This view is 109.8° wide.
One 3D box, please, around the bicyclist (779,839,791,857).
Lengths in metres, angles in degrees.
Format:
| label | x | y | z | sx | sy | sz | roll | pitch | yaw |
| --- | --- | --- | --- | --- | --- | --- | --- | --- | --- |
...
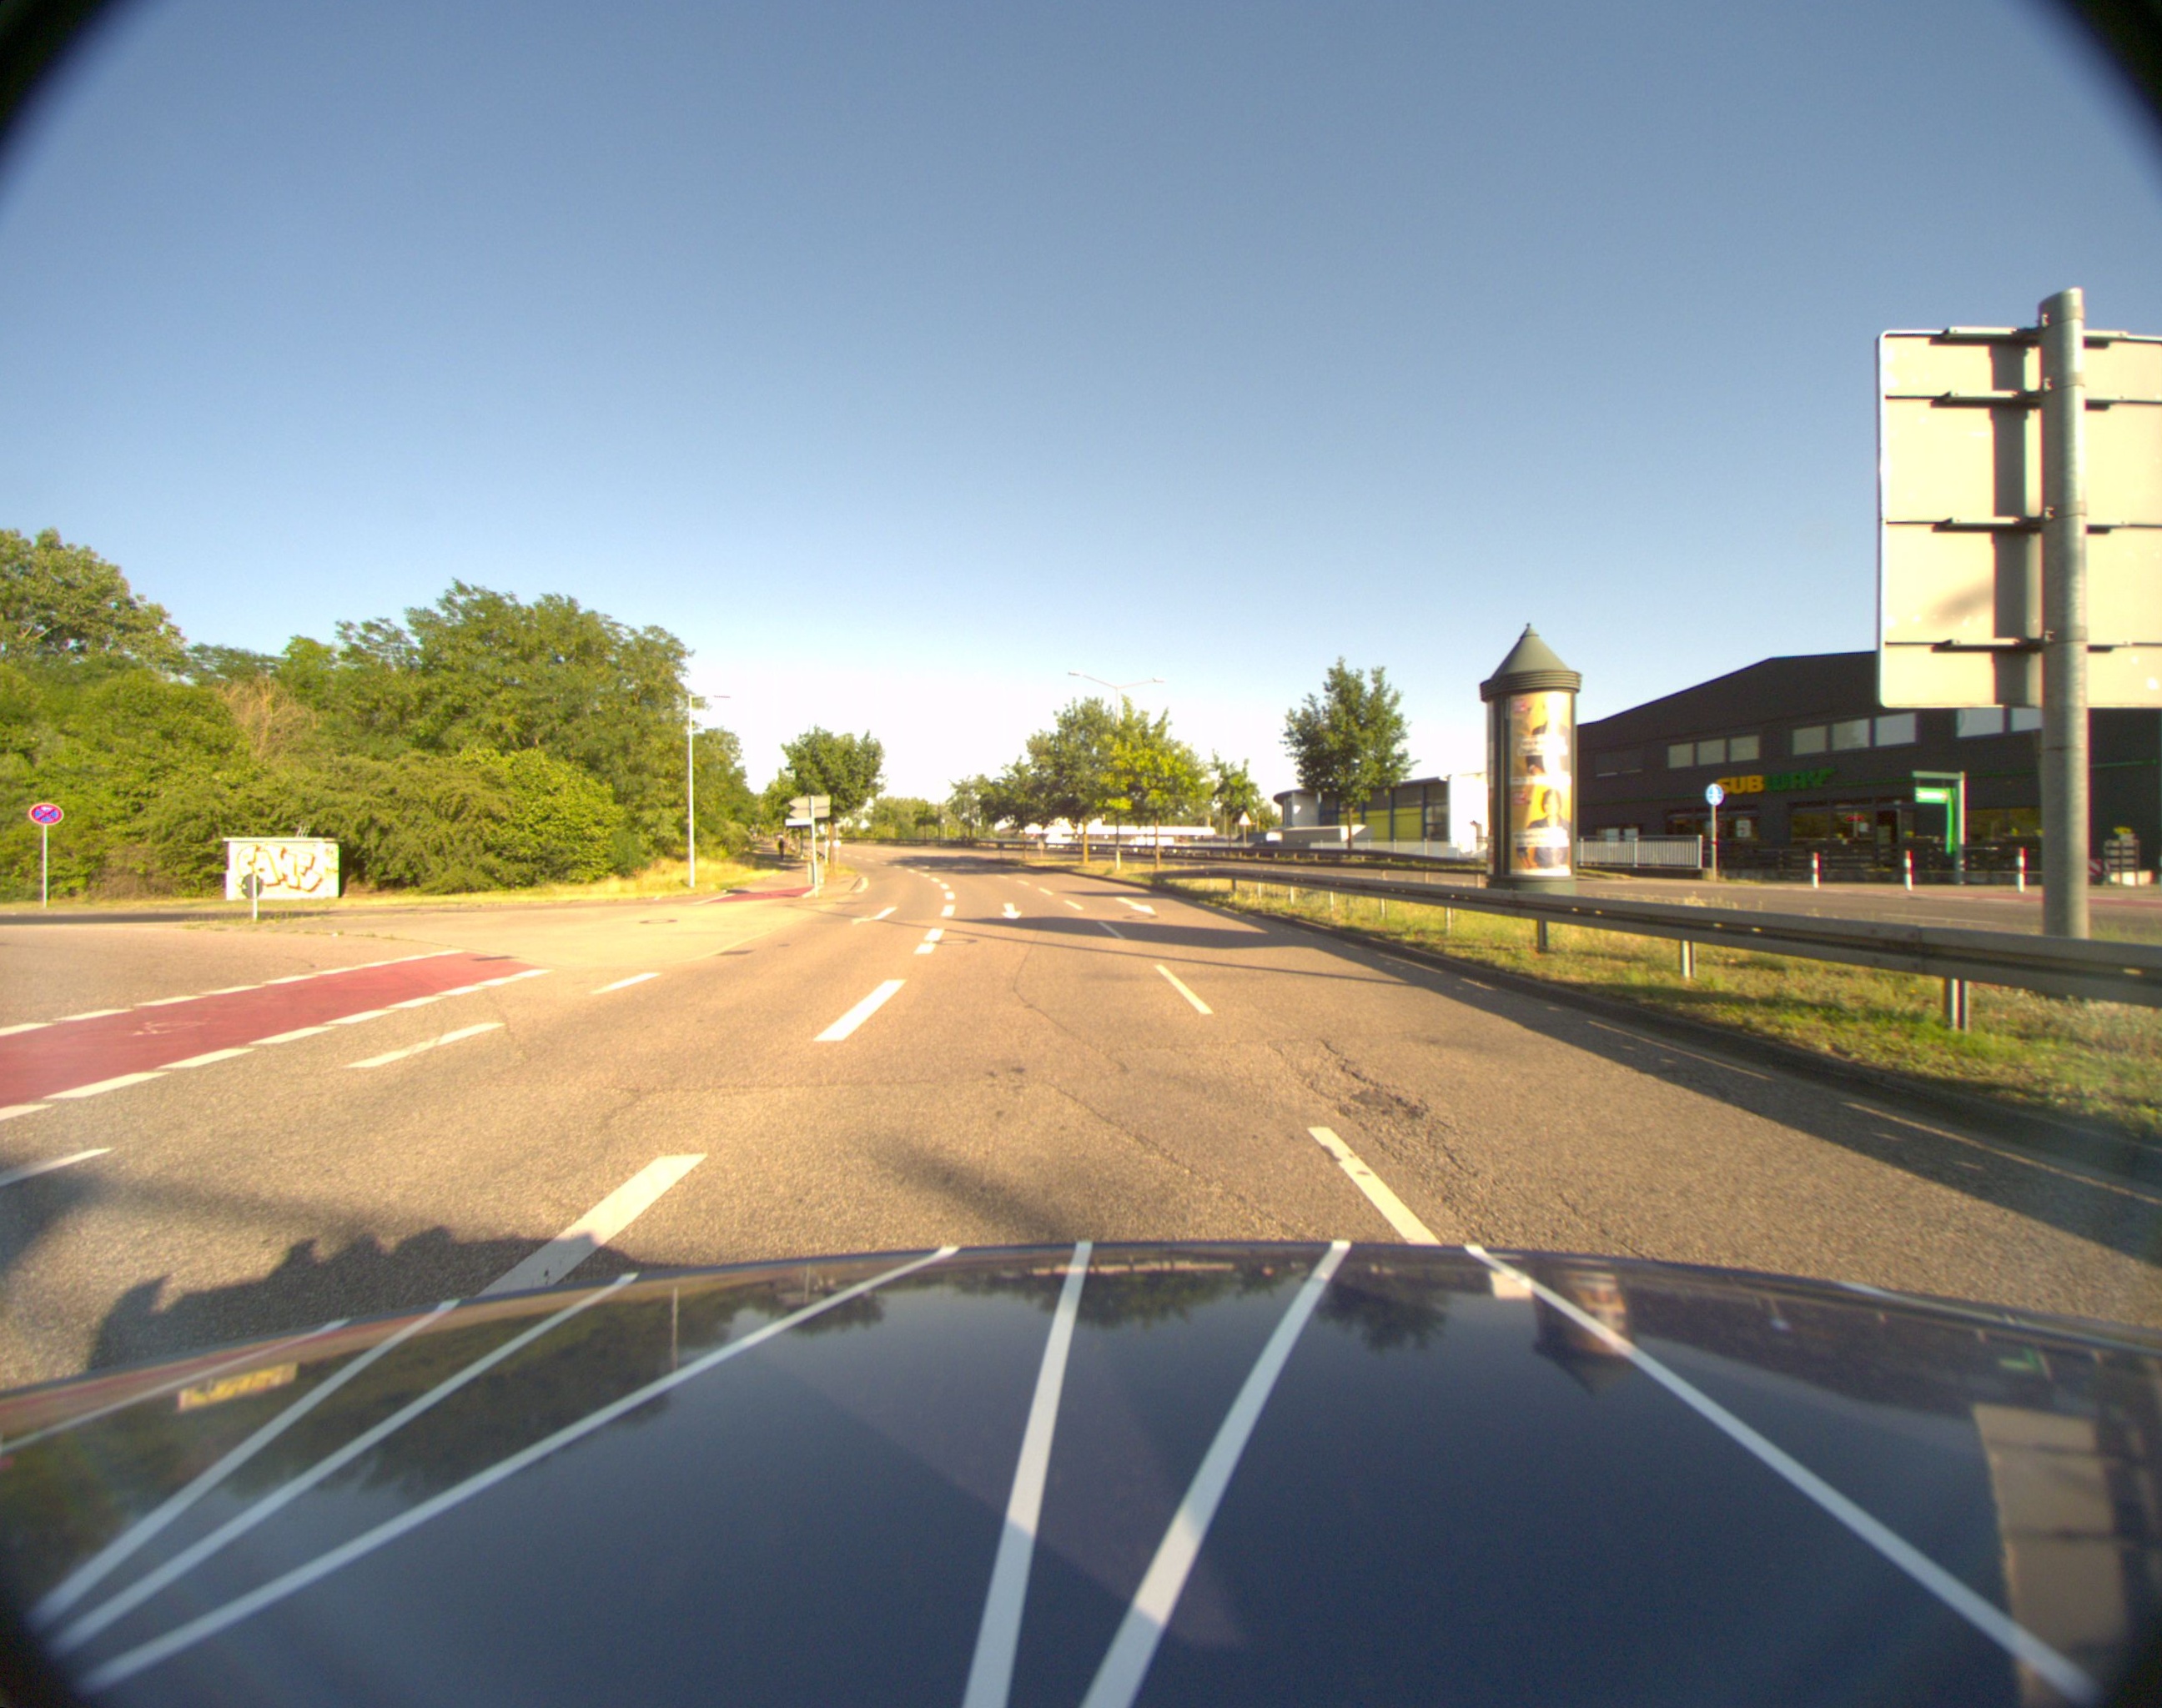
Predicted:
| label | x | y | z | sx | sy | sz | roll | pitch | yaw |
| --- | --- | --- | --- | --- | --- | --- | --- | --- | --- |
| bicyclist | -24.434 | -0.492 | 62.690 | 0.844 | 1.413 | 1.112 | -3 | 1 | -20 |

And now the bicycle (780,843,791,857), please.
| label | x | y | z | sx | sy | sz | roll | pitch | yaw |
| --- | --- | --- | --- | --- | --- | --- | --- | --- | --- |
| bicycle | -24.356 | -0.320 | 62.555 | 0.783 | 1.051 | 2.492 | -3 | 1 | -21 |

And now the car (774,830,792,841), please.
| label | x | y | z | sx | sy | sz | roll | pitch | yaw |
| --- | --- | --- | --- | --- | --- | --- | --- | --- | --- |
| car | -55.210 | -3.455 | 140.649 | 2.003 | 1.762 | 3.989 | -3 | 1 | -37 |
